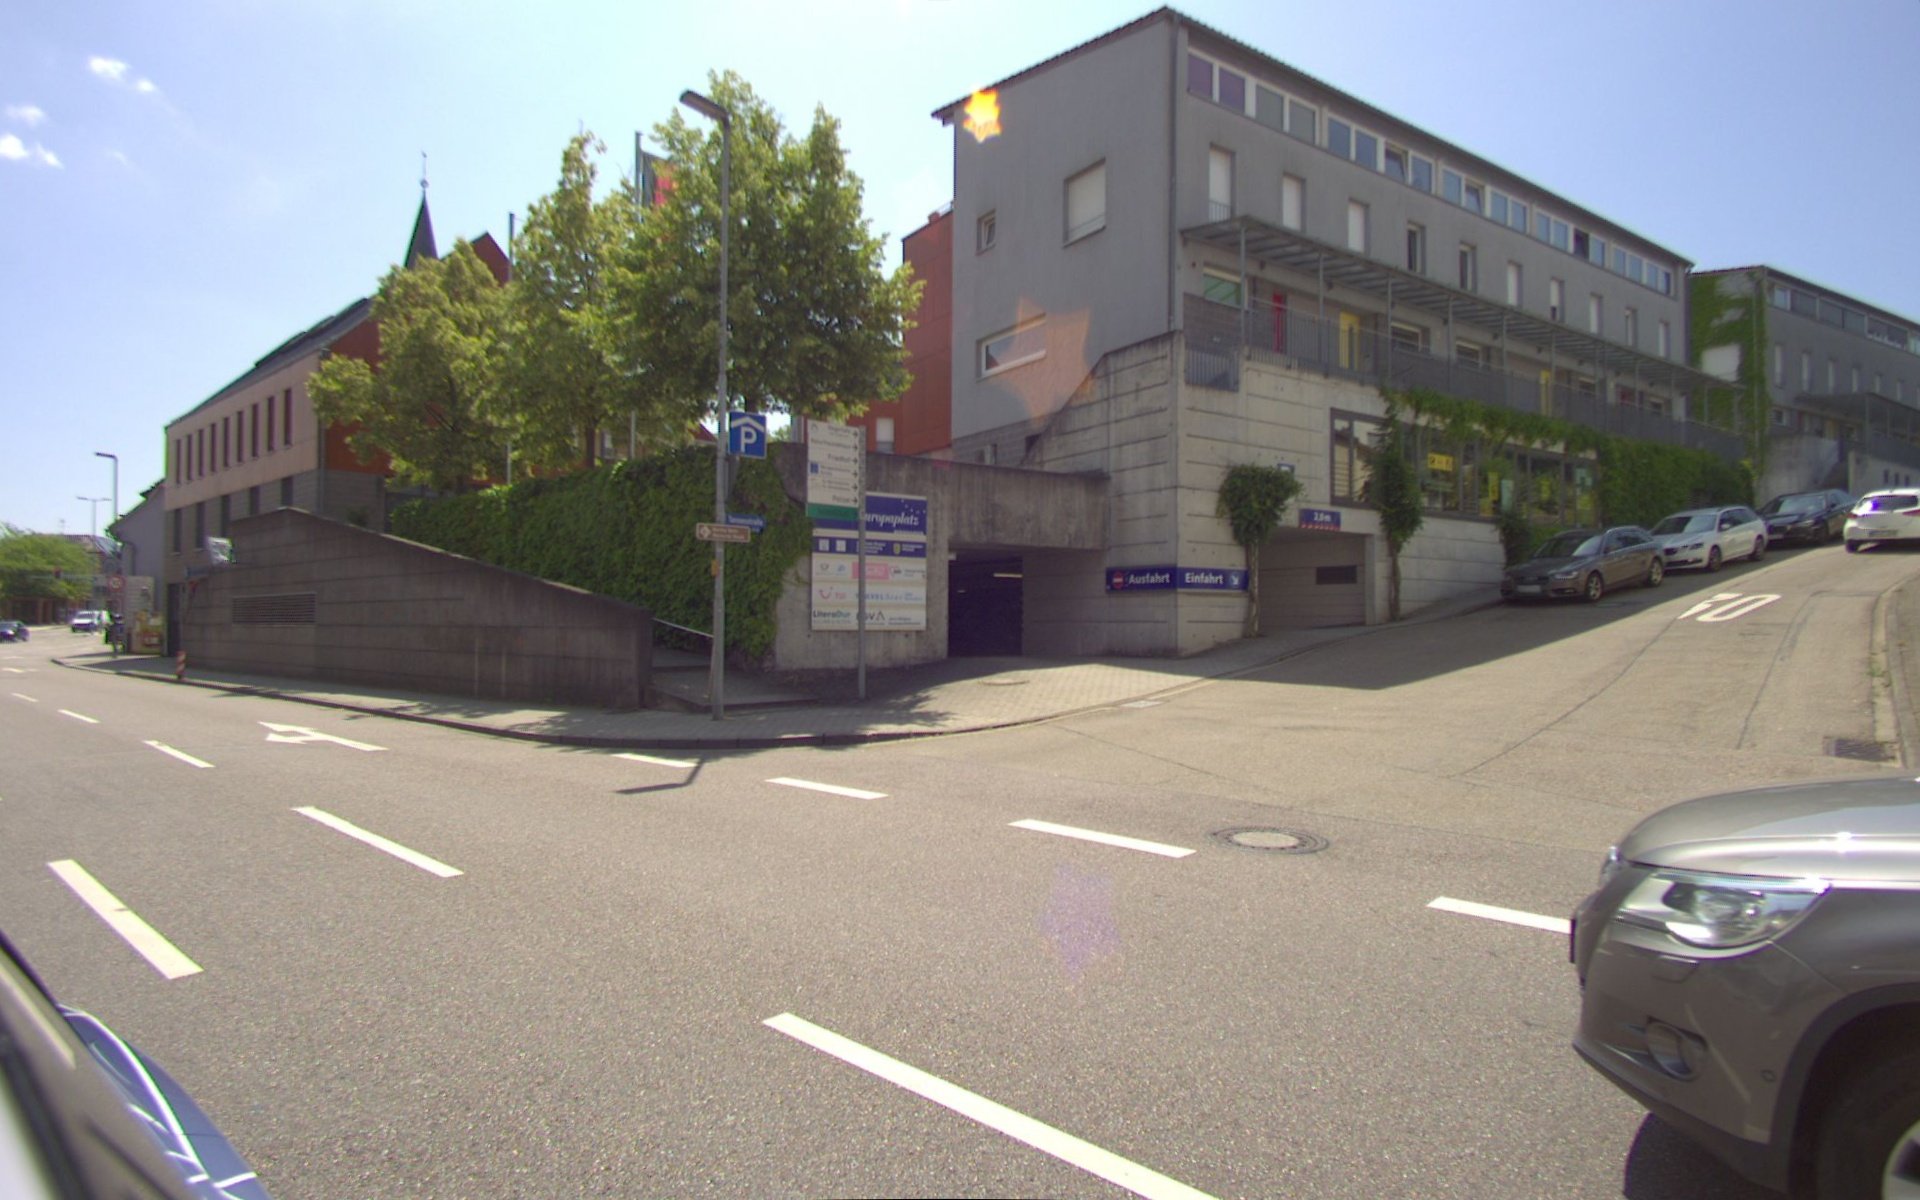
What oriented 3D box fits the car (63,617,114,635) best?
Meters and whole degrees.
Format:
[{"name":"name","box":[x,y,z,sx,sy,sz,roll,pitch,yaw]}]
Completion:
[{"name":"car","box":[-84.073,2.529,97.724,1.979,1.643,4.591,0,-1,-16]}]

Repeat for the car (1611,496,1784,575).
[{"name":"car","box":[18.604,-1.637,25.481,4.432,1.431,2.005,-8,3,-33]}]

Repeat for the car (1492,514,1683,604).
[{"name":"car","box":[13.849,-0.922,22.258,4.432,1.431,1.763,-8,3,-33]}]

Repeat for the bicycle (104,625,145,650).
[{"name":"bicycle","box":[-45.597,2.045,55.237,0.571,1.258,1.828,-4,0,5]}]

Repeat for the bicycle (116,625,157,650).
[{"name":"bicycle","box":[-44.952,2.033,55.241,0.571,1.258,1.828,-4,0,5]}]

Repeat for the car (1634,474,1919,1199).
[{"name":"car","box":[3.505,0.580,1.403,4.049,1.648,1.738,-1,-2,43]}]

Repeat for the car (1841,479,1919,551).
[{"name":"car","box":[23.773,-2.172,25.190,3.936,1.477,1.818,-9,5,-34]}]

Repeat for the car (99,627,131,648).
[{"name":"car","box":[-67.258,2.956,80.563,1.647,1.670,4.027,1,-2,-35]}]

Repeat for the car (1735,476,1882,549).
[{"name":"car","box":[24.154,-2.494,28.769,4.432,1.571,1.895,-8,3,-33]}]

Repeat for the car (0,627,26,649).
[{"name":"car","box":[-76.062,2.998,80.037,1.978,1.643,4.592,0,-1,-26]}]
